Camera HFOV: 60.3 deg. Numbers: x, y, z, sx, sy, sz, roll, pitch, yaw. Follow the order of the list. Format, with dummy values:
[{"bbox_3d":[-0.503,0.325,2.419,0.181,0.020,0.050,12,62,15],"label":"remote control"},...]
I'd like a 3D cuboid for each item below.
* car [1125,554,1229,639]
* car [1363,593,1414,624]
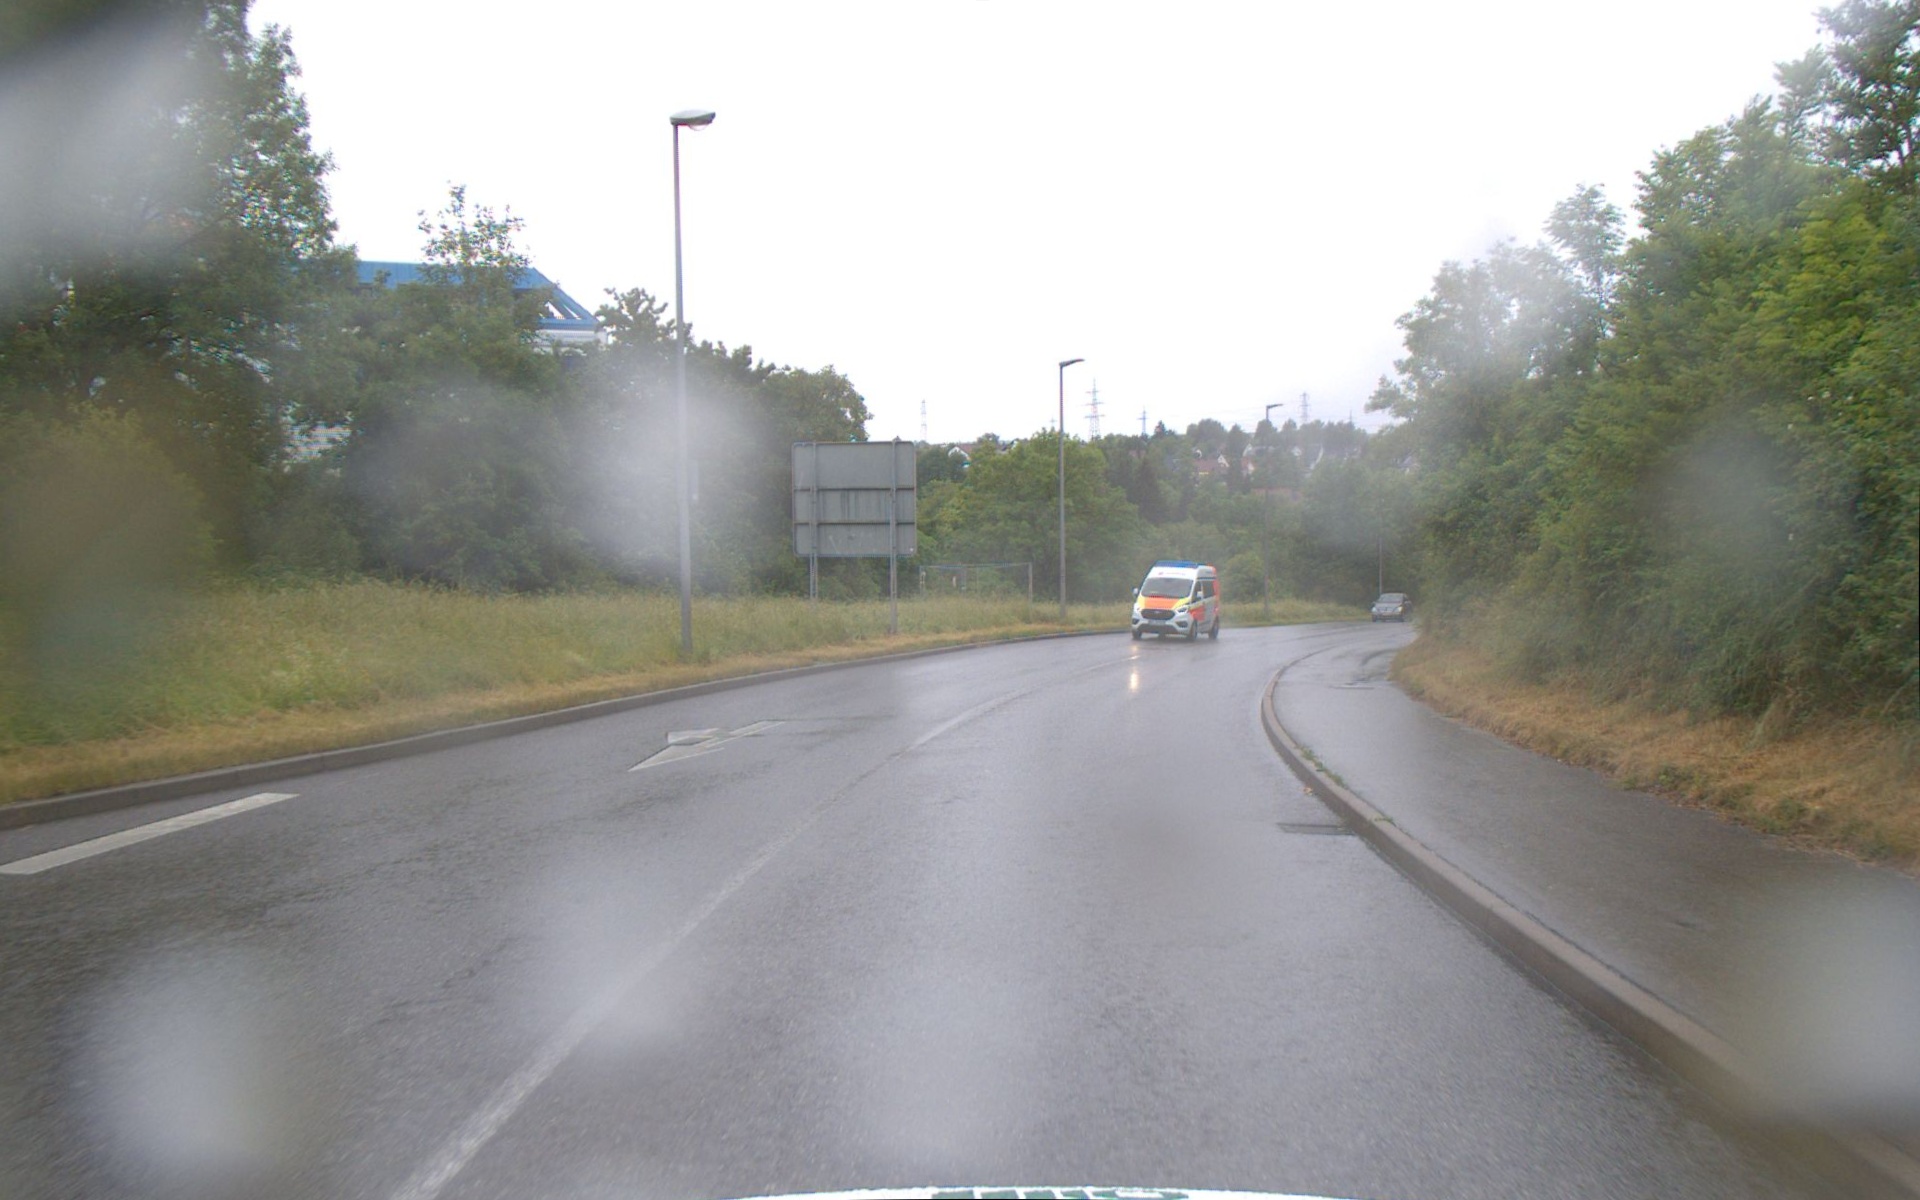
[{"bbox_3d":[6.946,-0.102,52.386,2.003,2.459,5.455,3,1,21],"label":"car"},{"bbox_3d":[24.050,0.479,92.724,1.828,1.579,4.261,3,1,27],"label":"car"}]
